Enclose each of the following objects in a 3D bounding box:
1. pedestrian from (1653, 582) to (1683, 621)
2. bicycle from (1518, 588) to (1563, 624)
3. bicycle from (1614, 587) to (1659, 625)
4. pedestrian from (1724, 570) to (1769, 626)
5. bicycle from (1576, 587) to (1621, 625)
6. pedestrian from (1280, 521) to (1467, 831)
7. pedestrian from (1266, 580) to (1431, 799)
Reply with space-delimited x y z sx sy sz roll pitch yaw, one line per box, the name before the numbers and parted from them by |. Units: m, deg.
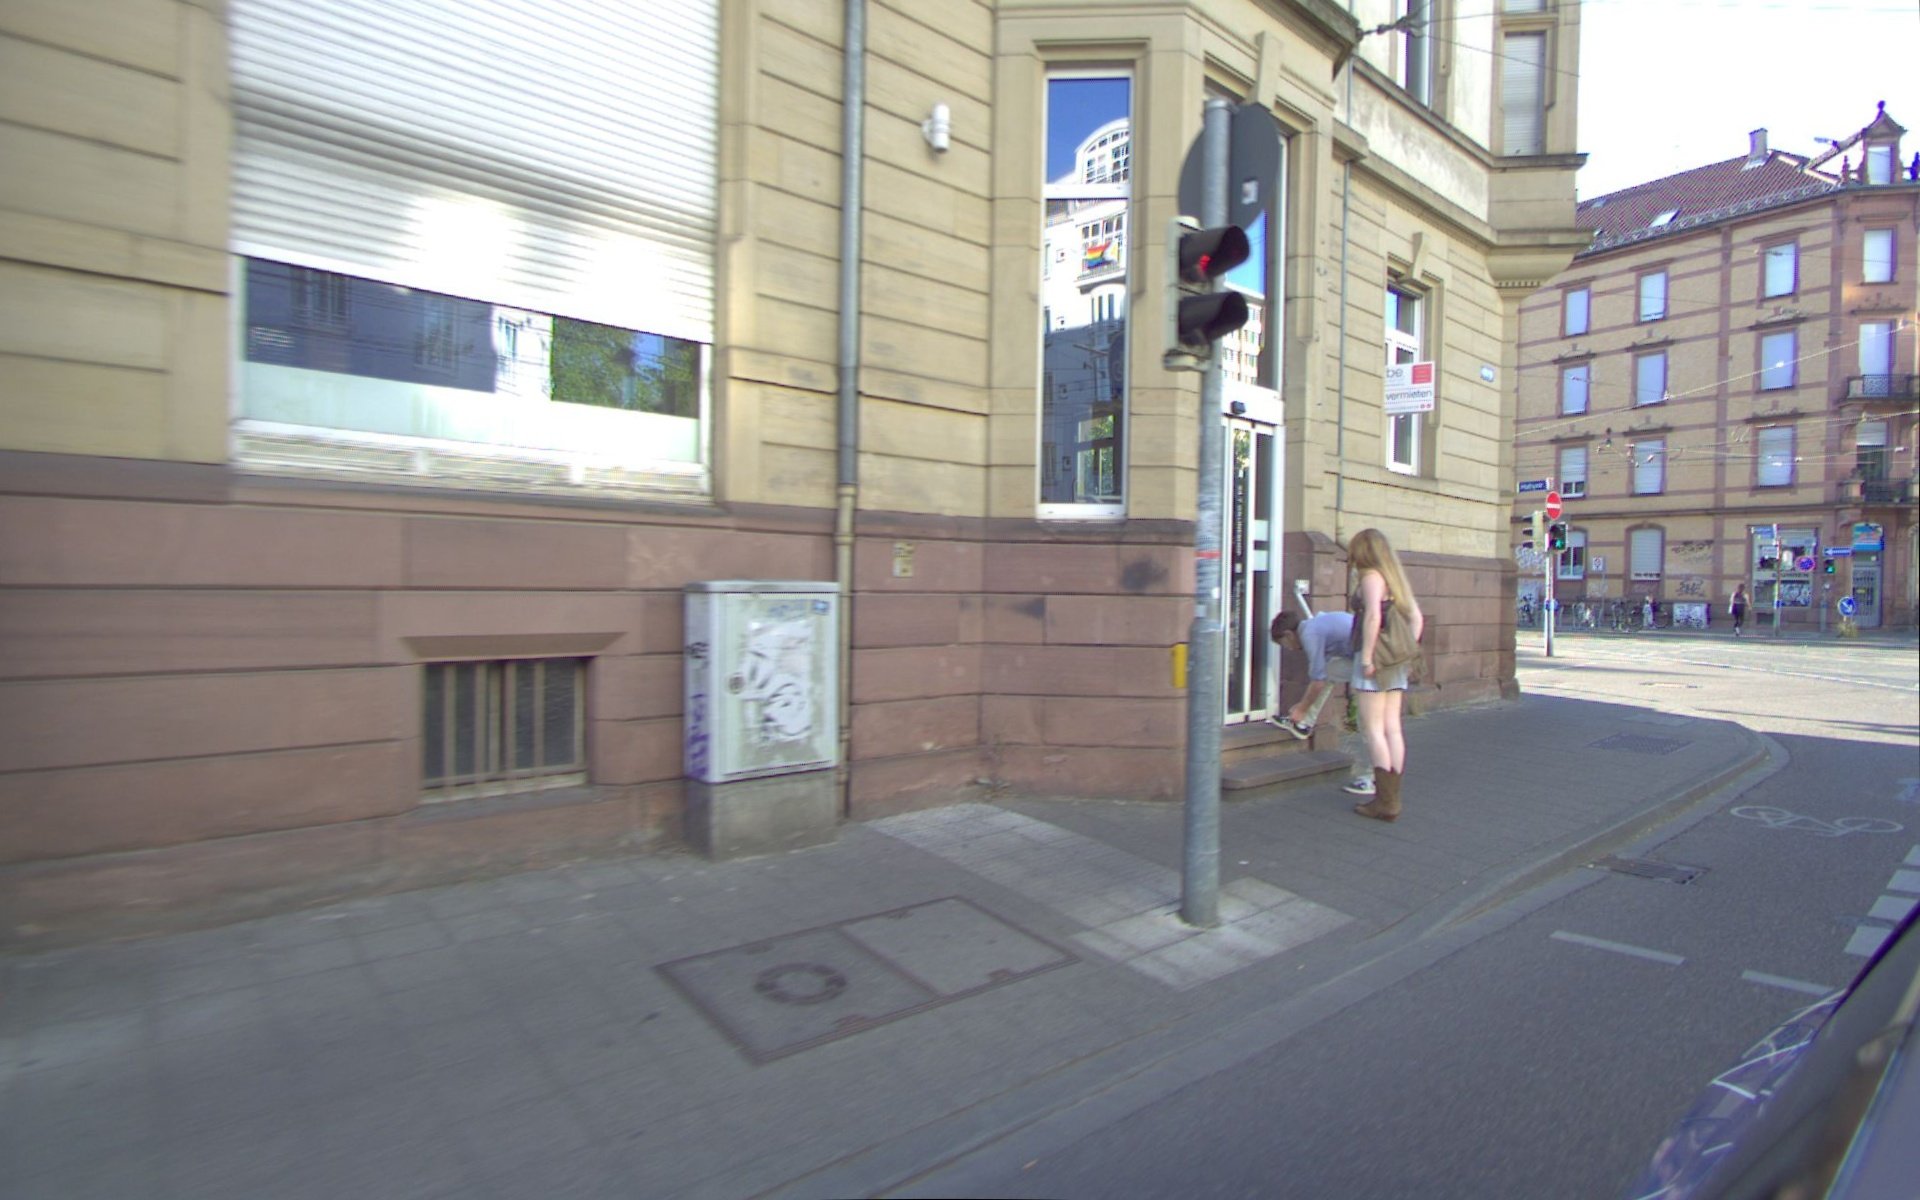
pedestrian | 29.826 0.060 42.633 0.749 1.589 0.745 -5 3 -34
bicycle | 22.653 0.223 39.478 1.931 1.279 0.756 4 -1 -36
bicycle | 24.589 0.218 36.769 1.800 1.279 0.756 4 -1 -36
pedestrian | 26.138 -0.079 33.635 1.065 1.829 1.024 0 1 -44
bicycle | 23.964 0.220 37.981 1.931 1.279 0.756 4 -1 -36
pedestrian | 2.527 0.400 6.205 0.707 1.742 0.795 -2 4 -42
pedestrian | 2.649 0.558 6.924 0.707 1.347 0.795 -2 4 -42
